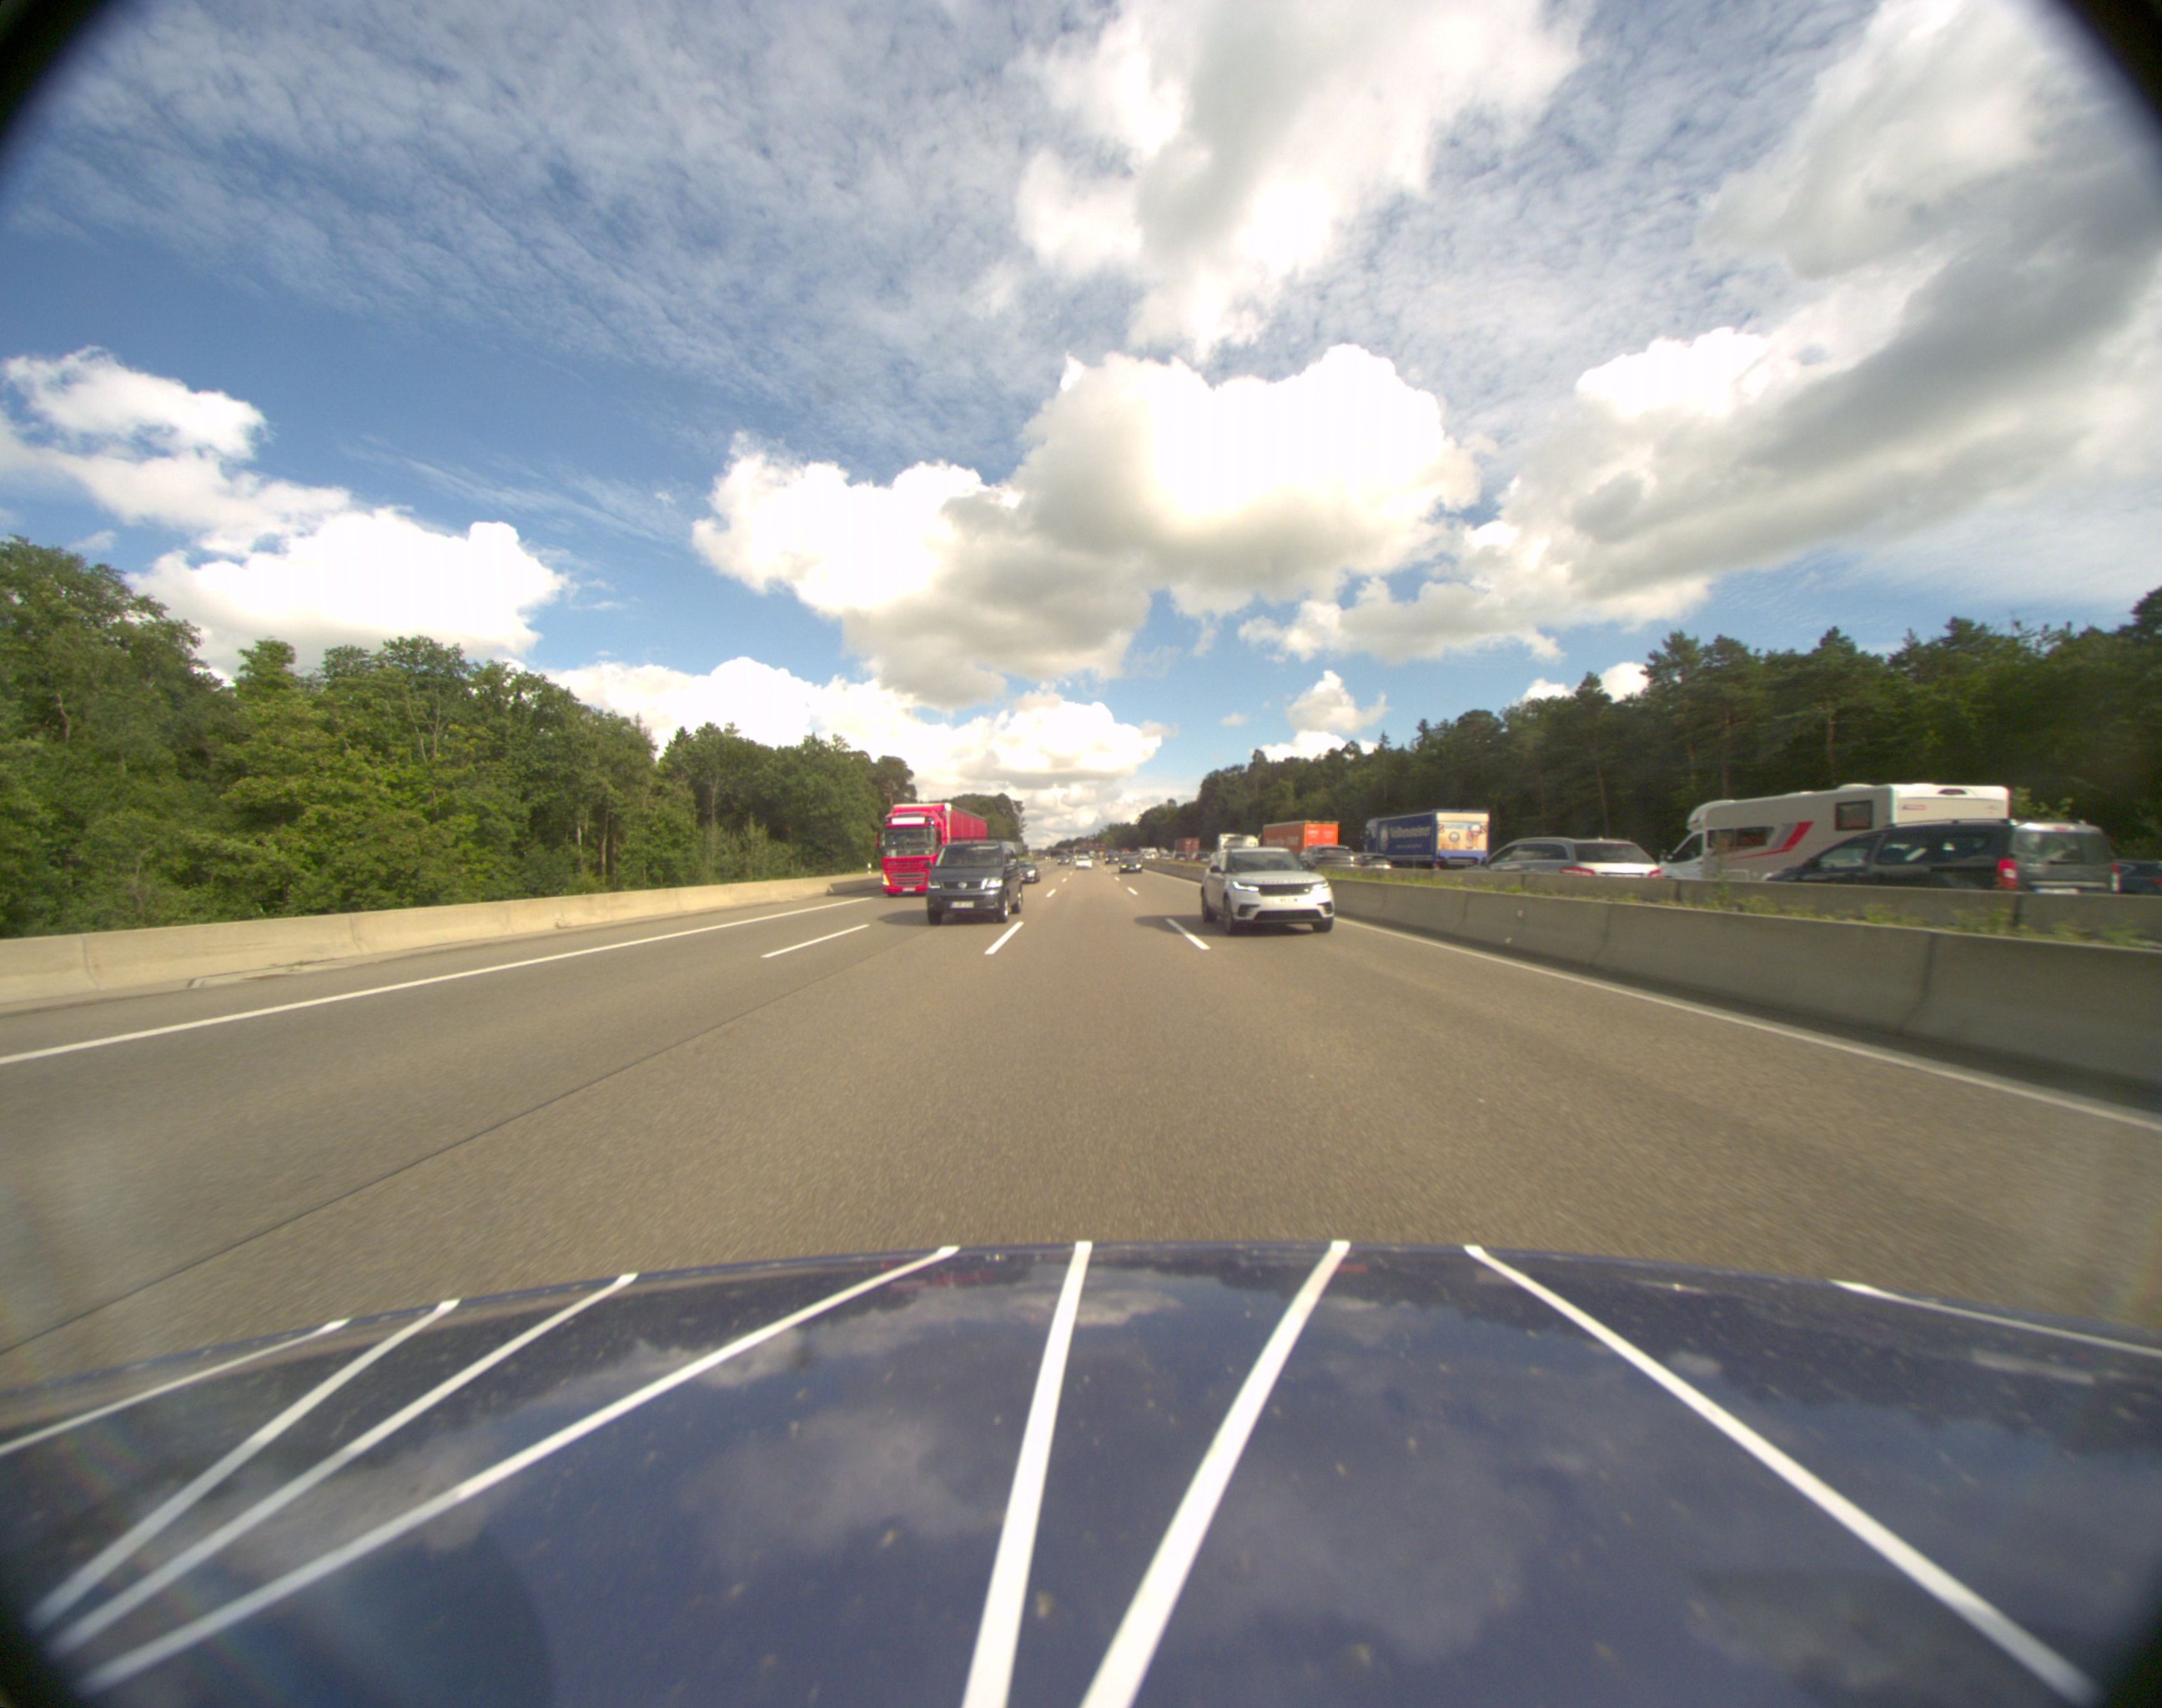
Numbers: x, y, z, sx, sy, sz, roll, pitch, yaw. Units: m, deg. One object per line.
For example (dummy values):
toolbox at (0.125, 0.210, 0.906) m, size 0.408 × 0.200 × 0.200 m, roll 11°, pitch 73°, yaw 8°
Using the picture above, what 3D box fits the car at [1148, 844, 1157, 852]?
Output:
car at (19.156, -1.537, 203.085) m, size 1.998 × 2.002 × 4.000 m, roll -1°, pitch 0°, yaw 0°

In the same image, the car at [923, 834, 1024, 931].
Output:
car at (-2.628, 0.661, 19.745) m, size 1.927 × 2.153 × 4.961 m, roll -1°, pitch 0°, yaw 0°

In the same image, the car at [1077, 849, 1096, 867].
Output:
car at (0.635, 0.432, 87.649) m, size 1.998 × 2.002 × 4.000 m, roll -2°, pitch 0°, yaw 2°

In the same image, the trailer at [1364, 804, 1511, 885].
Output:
trailer at (18.116, -0.451, 39.686) m, size 2.895 × 3.637 × 10.219 m, roll -1°, pitch 0°, yaw 1°

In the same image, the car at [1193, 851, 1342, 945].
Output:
car at (3.654, 0.775, 15.908) m, size 1.904 × 1.597 × 5.105 m, roll -2°, pitch 0°, yaw 1°

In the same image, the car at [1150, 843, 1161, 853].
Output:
car at (15.745, -1.291, 161.116) m, size 1.998 × 2.002 × 3.999 m, roll -2°, pitch 1°, yaw 1°

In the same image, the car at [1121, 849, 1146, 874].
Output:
car at (4.445, 0.611, 64.956) m, size 1.919 × 2.002 × 4.000 m, roll -1°, pitch 1°, yaw 2°

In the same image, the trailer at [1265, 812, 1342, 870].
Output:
trailer at (18.492, -1.077, 64.409) m, size 2.646 × 4.295 × 13.175 m, roll -3°, pitch 1°, yaw 1°

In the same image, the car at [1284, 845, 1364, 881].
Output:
car at (10.284, 0.355, 32.501) m, size 1.837 × 1.379 × 4.903 m, roll -1°, pitch 0°, yaw 0°

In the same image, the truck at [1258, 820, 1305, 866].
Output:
truck at (18.541, -0.985, 70.606) m, size 2.621 × 4.047 × 6.717 m, roll -1°, pitch 1°, yaw 1°

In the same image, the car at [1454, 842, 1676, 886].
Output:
car at (9.412, 0.164, 15.290) m, size 1.651 × 0.720 × 4.447 m, roll -2°, pitch 0°, yaw 0°

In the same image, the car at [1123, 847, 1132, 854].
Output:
car at (12.008, -0.938, 197.530) m, size 1.998 × 1.838 × 4.000 m, roll -1°, pitch 0°, yaw 0°

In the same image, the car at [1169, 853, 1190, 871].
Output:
car at (10.967, 0.895, 84.737) m, size 1.821 × 1.871 × 4.903 m, roll -1°, pitch 0°, yaw 1°

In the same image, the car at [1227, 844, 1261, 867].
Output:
car at (14.550, 0.092, 68.046) m, size 1.998 × 1.949 × 4.990 m, roll -2°, pitch 1°, yaw 1°

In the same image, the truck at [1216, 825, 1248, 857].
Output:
truck at (18.919, -1.607, 95.276) m, size 2.964 × 3.725 × 5.109 m, roll -1°, pitch 1°, yaw 0°

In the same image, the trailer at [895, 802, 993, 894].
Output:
trailer at (-7.019, -0.306, 41.467) m, size 2.531 × 4.096 × 14.376 m, roll -1°, pitch 0°, yaw 0°

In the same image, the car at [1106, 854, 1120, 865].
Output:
car at (4.853, 0.820, 114.904) m, size 1.911 × 1.582 × 4.287 m, roll -2°, pitch 1°, yaw 1°

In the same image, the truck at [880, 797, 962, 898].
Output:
truck at (-7.060, -0.287, 34.109) m, size 2.532 × 4.178 × 4.653 m, roll -1°, pitch 1°, yaw 0°

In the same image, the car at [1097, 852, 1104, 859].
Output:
car at (5.373, 0.468, 205.631) m, size 1.804 × 1.783 × 3.758 m, roll -1°, pitch 0°, yaw 1°

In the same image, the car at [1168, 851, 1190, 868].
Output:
car at (10.886, 0.587, 84.693) m, size 1.821 × 1.735 × 4.903 m, roll -1°, pitch 0°, yaw 1°

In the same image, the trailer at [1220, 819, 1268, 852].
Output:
trailer at (18.864, -2.087, 88.914) m, size 2.957 × 3.478 × 12.230 m, roll -2°, pitch 1°, yaw 1°

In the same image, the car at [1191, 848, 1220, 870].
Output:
car at (11.282, 0.447, 69.030) m, size 1.821 × 1.871 × 4.903 m, roll -1°, pitch 0°, yaw 0°

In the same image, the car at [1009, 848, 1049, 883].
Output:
car at (-3.099, 0.655, 46.135) m, size 1.998 × 2.002 × 4.001 m, roll -1°, pitch 0°, yaw 2°

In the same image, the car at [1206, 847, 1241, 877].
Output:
car at (10.520, 0.563, 56.388) m, size 1.747 × 2.002 × 4.682 m, roll -2°, pitch 1°, yaw 1°

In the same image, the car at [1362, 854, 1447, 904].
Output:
car at (14.594, 1.062, 34.553) m, size 1.837 × 2.048 × 4.636 m, roll -2°, pitch 0°, yaw 0°

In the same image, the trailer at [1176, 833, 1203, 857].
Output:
trailer at (19.084, -1.613, 134.652) m, size 2.957 × 3.961 × 12.890 m, roll -2°, pitch 1°, yaw 1°

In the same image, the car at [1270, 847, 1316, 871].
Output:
car at (14.226, 0.326, 51.225) m, size 1.728 × 1.474 × 4.903 m, roll -1°, pitch 0°, yaw 0°

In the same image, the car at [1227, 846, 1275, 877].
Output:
car at (10.238, 0.416, 46.076) m, size 1.821 × 1.753 × 4.630 m, roll -1°, pitch 0°, yaw 0°

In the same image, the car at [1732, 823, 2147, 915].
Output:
car at (13.830, 0.198, 12.789) m, size 1.837 × 1.223 × 4.566 m, roll -2°, pitch 0°, yaw 0°

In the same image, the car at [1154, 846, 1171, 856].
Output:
car at (10.398, -0.388, 96.966) m, size 1.599 × 1.167 × 4.355 m, roll -1°, pitch 0°, yaw -1°

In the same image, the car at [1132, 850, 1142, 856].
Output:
car at (11.445, -0.198, 155.268) m, size 1.762 × 1.271 × 4.000 m, roll -1°, pitch 0°, yaw 1°

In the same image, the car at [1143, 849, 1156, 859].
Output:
car at (11.008, 0.041, 122.235) m, size 1.515 × 1.552 × 3.999 m, roll -1°, pitch 0°, yaw -1°

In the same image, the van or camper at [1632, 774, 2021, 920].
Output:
van or camper at (17.729, -0.238, 19.049) m, size 2.476 × 2.873 × 7.480 m, roll -2°, pitch 2°, yaw 1°

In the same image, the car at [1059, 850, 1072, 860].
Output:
car at (-2.492, 0.127, 122.957) m, size 1.911 × 1.582 × 4.286 m, roll -2°, pitch 1°, yaw -2°
